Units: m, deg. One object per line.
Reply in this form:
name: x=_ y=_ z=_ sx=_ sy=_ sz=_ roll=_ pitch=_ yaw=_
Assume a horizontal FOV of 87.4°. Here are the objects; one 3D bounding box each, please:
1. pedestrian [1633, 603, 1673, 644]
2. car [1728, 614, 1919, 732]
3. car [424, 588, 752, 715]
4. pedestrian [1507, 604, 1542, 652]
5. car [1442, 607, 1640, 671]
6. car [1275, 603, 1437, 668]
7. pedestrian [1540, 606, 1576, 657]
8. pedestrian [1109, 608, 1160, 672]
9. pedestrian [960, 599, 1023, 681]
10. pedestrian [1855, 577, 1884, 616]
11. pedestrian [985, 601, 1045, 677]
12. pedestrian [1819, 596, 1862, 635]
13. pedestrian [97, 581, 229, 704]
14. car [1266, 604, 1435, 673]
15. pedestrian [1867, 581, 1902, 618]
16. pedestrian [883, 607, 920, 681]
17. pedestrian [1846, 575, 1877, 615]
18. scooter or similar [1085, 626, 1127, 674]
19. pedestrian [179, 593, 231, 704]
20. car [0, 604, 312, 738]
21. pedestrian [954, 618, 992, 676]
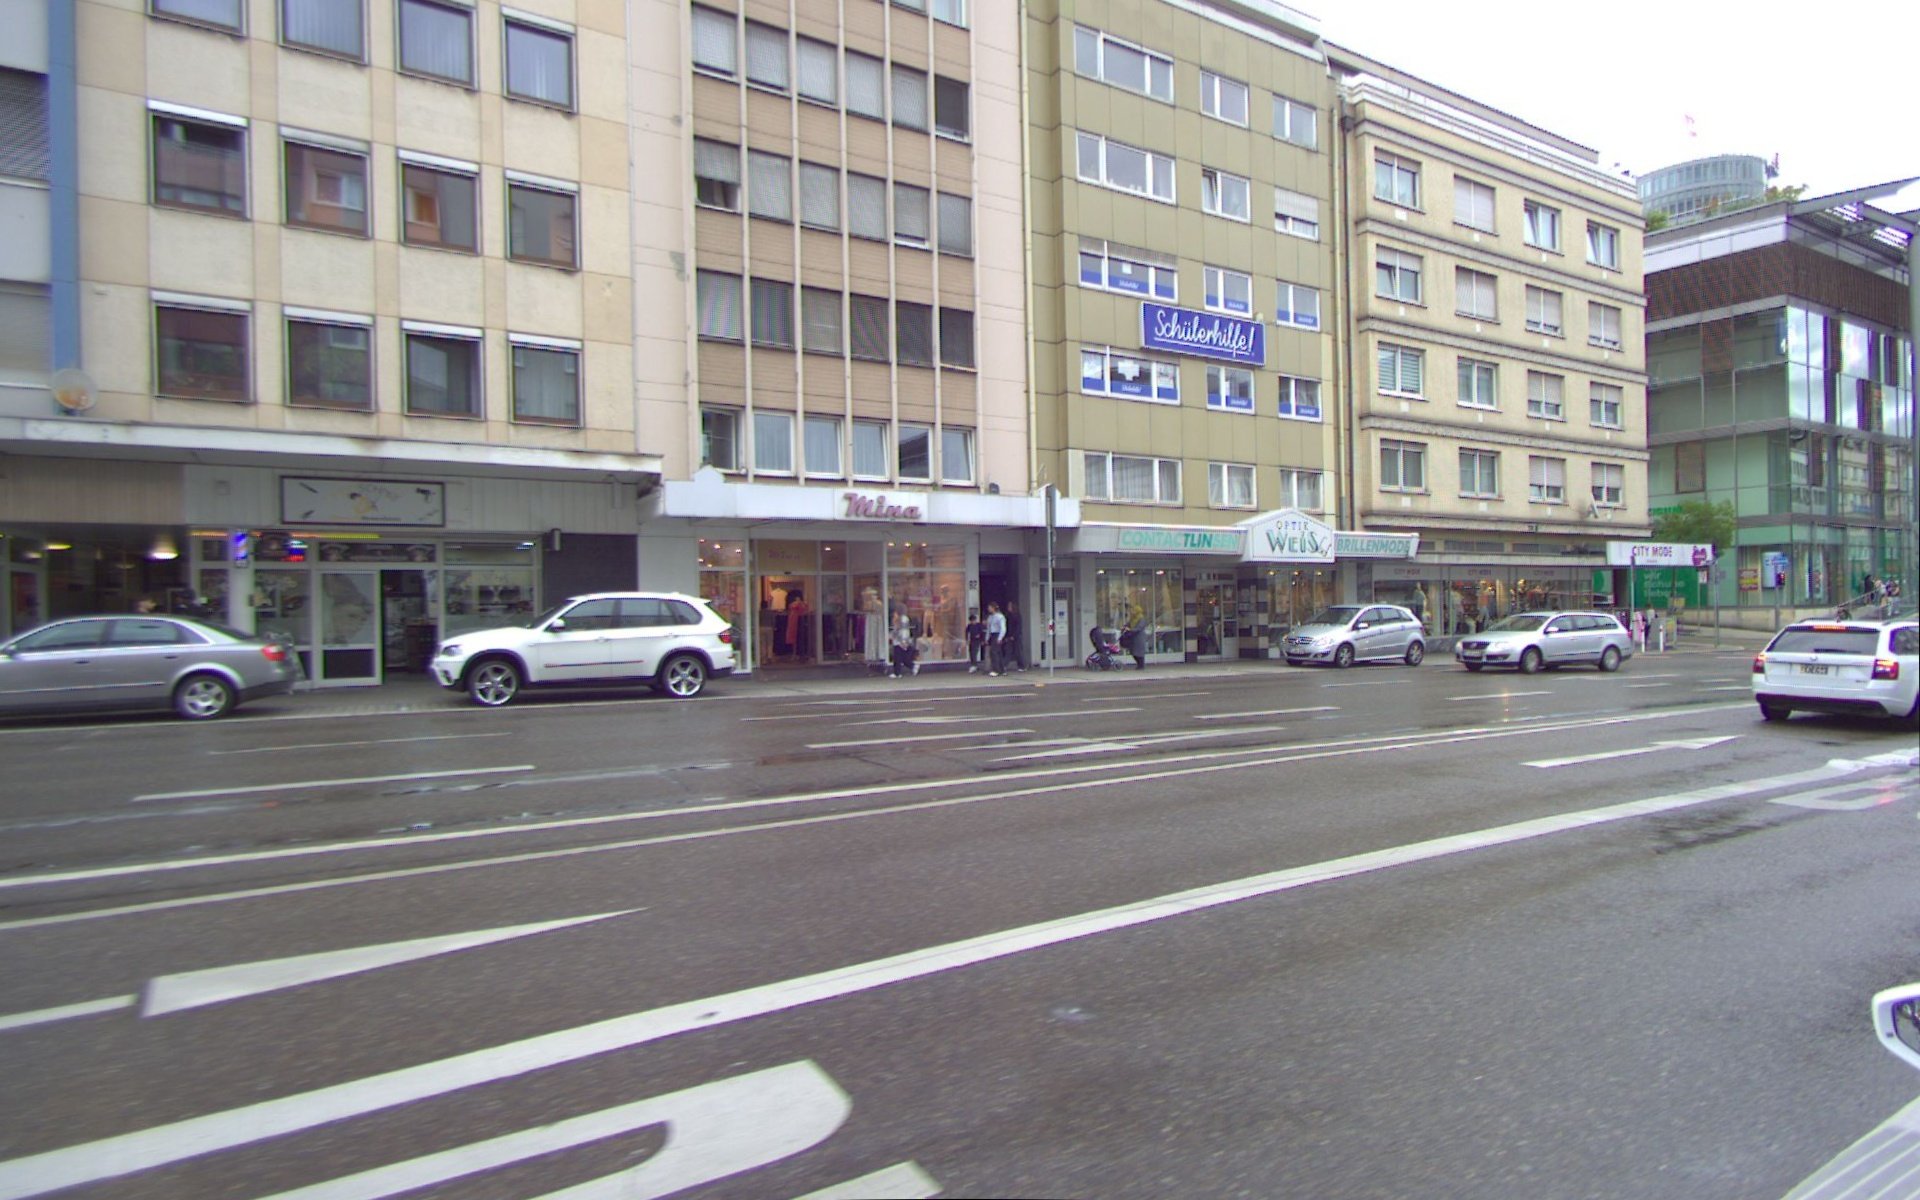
pedestrian: x=27.232 y=0.920 z=39.456 sx=1.139 sy=1.607 sz=0.868 roll=0 pitch=0 yaw=-27
car: x=13.257 y=0.948 z=14.594 sx=4.578 sy=1.434 sz=1.783 roll=0 pitch=0 yaw=-31
car: x=-6.112 y=0.752 z=16.678 sx=4.903 sy=1.851 sz=1.841 roll=0 pitch=0 yaw=-29
pedestrian: x=18.984 y=0.932 z=33.789 sx=0.674 sy=1.557 sz=0.780 roll=0 pitch=1 yaw=-32
car: x=14.384 y=0.917 z=24.839 sx=4.685 sy=1.465 sz=1.781 roll=0 pitch=0 yaw=-23
car: x=10.378 y=0.876 z=26.254 sx=4.149 sy=1.584 sz=1.693 roll=0 pitch=0 yaw=-28
pedestrian: x=19.607 y=1.021 z=32.965 sx=0.828 sy=1.649 sz=0.775 roll=1 pitch=1 yaw=17
pedestrian: x=4.253 y=0.956 z=24.425 sx=1.053 sy=1.504 sz=0.663 roll=-1 pitch=2 yaw=-31
pedestrian: x=0.693 y=0.853 z=22.161 sx=1.078 sy=1.737 sz=0.947 roll=-1 pitch=2 yaw=-31
pedestrian: x=46.602 y=-0.174 z=51.455 sx=0.840 sy=2.007 sz=0.871 roll=0 pitch=0 yaw=-30
pedestrian: x=1.291 y=0.897 z=23.638 sx=1.074 sy=1.718 sz=0.947 roll=-1 pitch=2 yaw=-31
pedestrian: x=39.685 y=0.709 z=45.268 sx=0.988 sy=1.736 sz=1.042 roll=0 pitch=0 yaw=-2
pedestrian: x=-11.928 y=0.592 z=15.099 sx=1.403 sy=1.741 sz=0.947 roll=-1 pitch=2 yaw=-31
car: x=10.242 y=0.939 z=26.249 sx=4.349 sy=1.571 sz=1.838 roll=-1 pitch=2 yaw=-31
pedestrian: x=44.071 y=-0.006 z=47.877 sx=0.998 sy=1.736 sz=1.032 roll=0 pitch=0 yaw=-35
pedestrian: x=-1.284 y=0.944 z=22.030 sx=0.604 sy=1.595 sz=0.639 roll=0 pitch=0 yaw=-30
pedestrian: x=45.769 y=-0.264 z=50.995 sx=0.963 sy=2.007 sz=0.876 roll=0 pitch=0 yaw=-30
scooter or similar: x=3.478 y=1.183 z=24.017 sx=0.693 sy=1.068 sz=0.732 roll=-1 pitch=2 yaw=-31
pedestrian: x=-12.002 y=0.752 z=15.982 sx=0.577 sy=1.731 sz=0.443 roll=-1 pitch=2 yaw=-29
car: x=-11.614 y=0.877 z=13.440 sx=4.821 sy=1.630 sz=1.856 roll=0 pitch=0 yaw=-29
pedestrian: x=0.297 y=1.071 z=23.162 sx=0.712 sy=1.266 sz=0.531 roll=-1 pitch=2 yaw=-31
